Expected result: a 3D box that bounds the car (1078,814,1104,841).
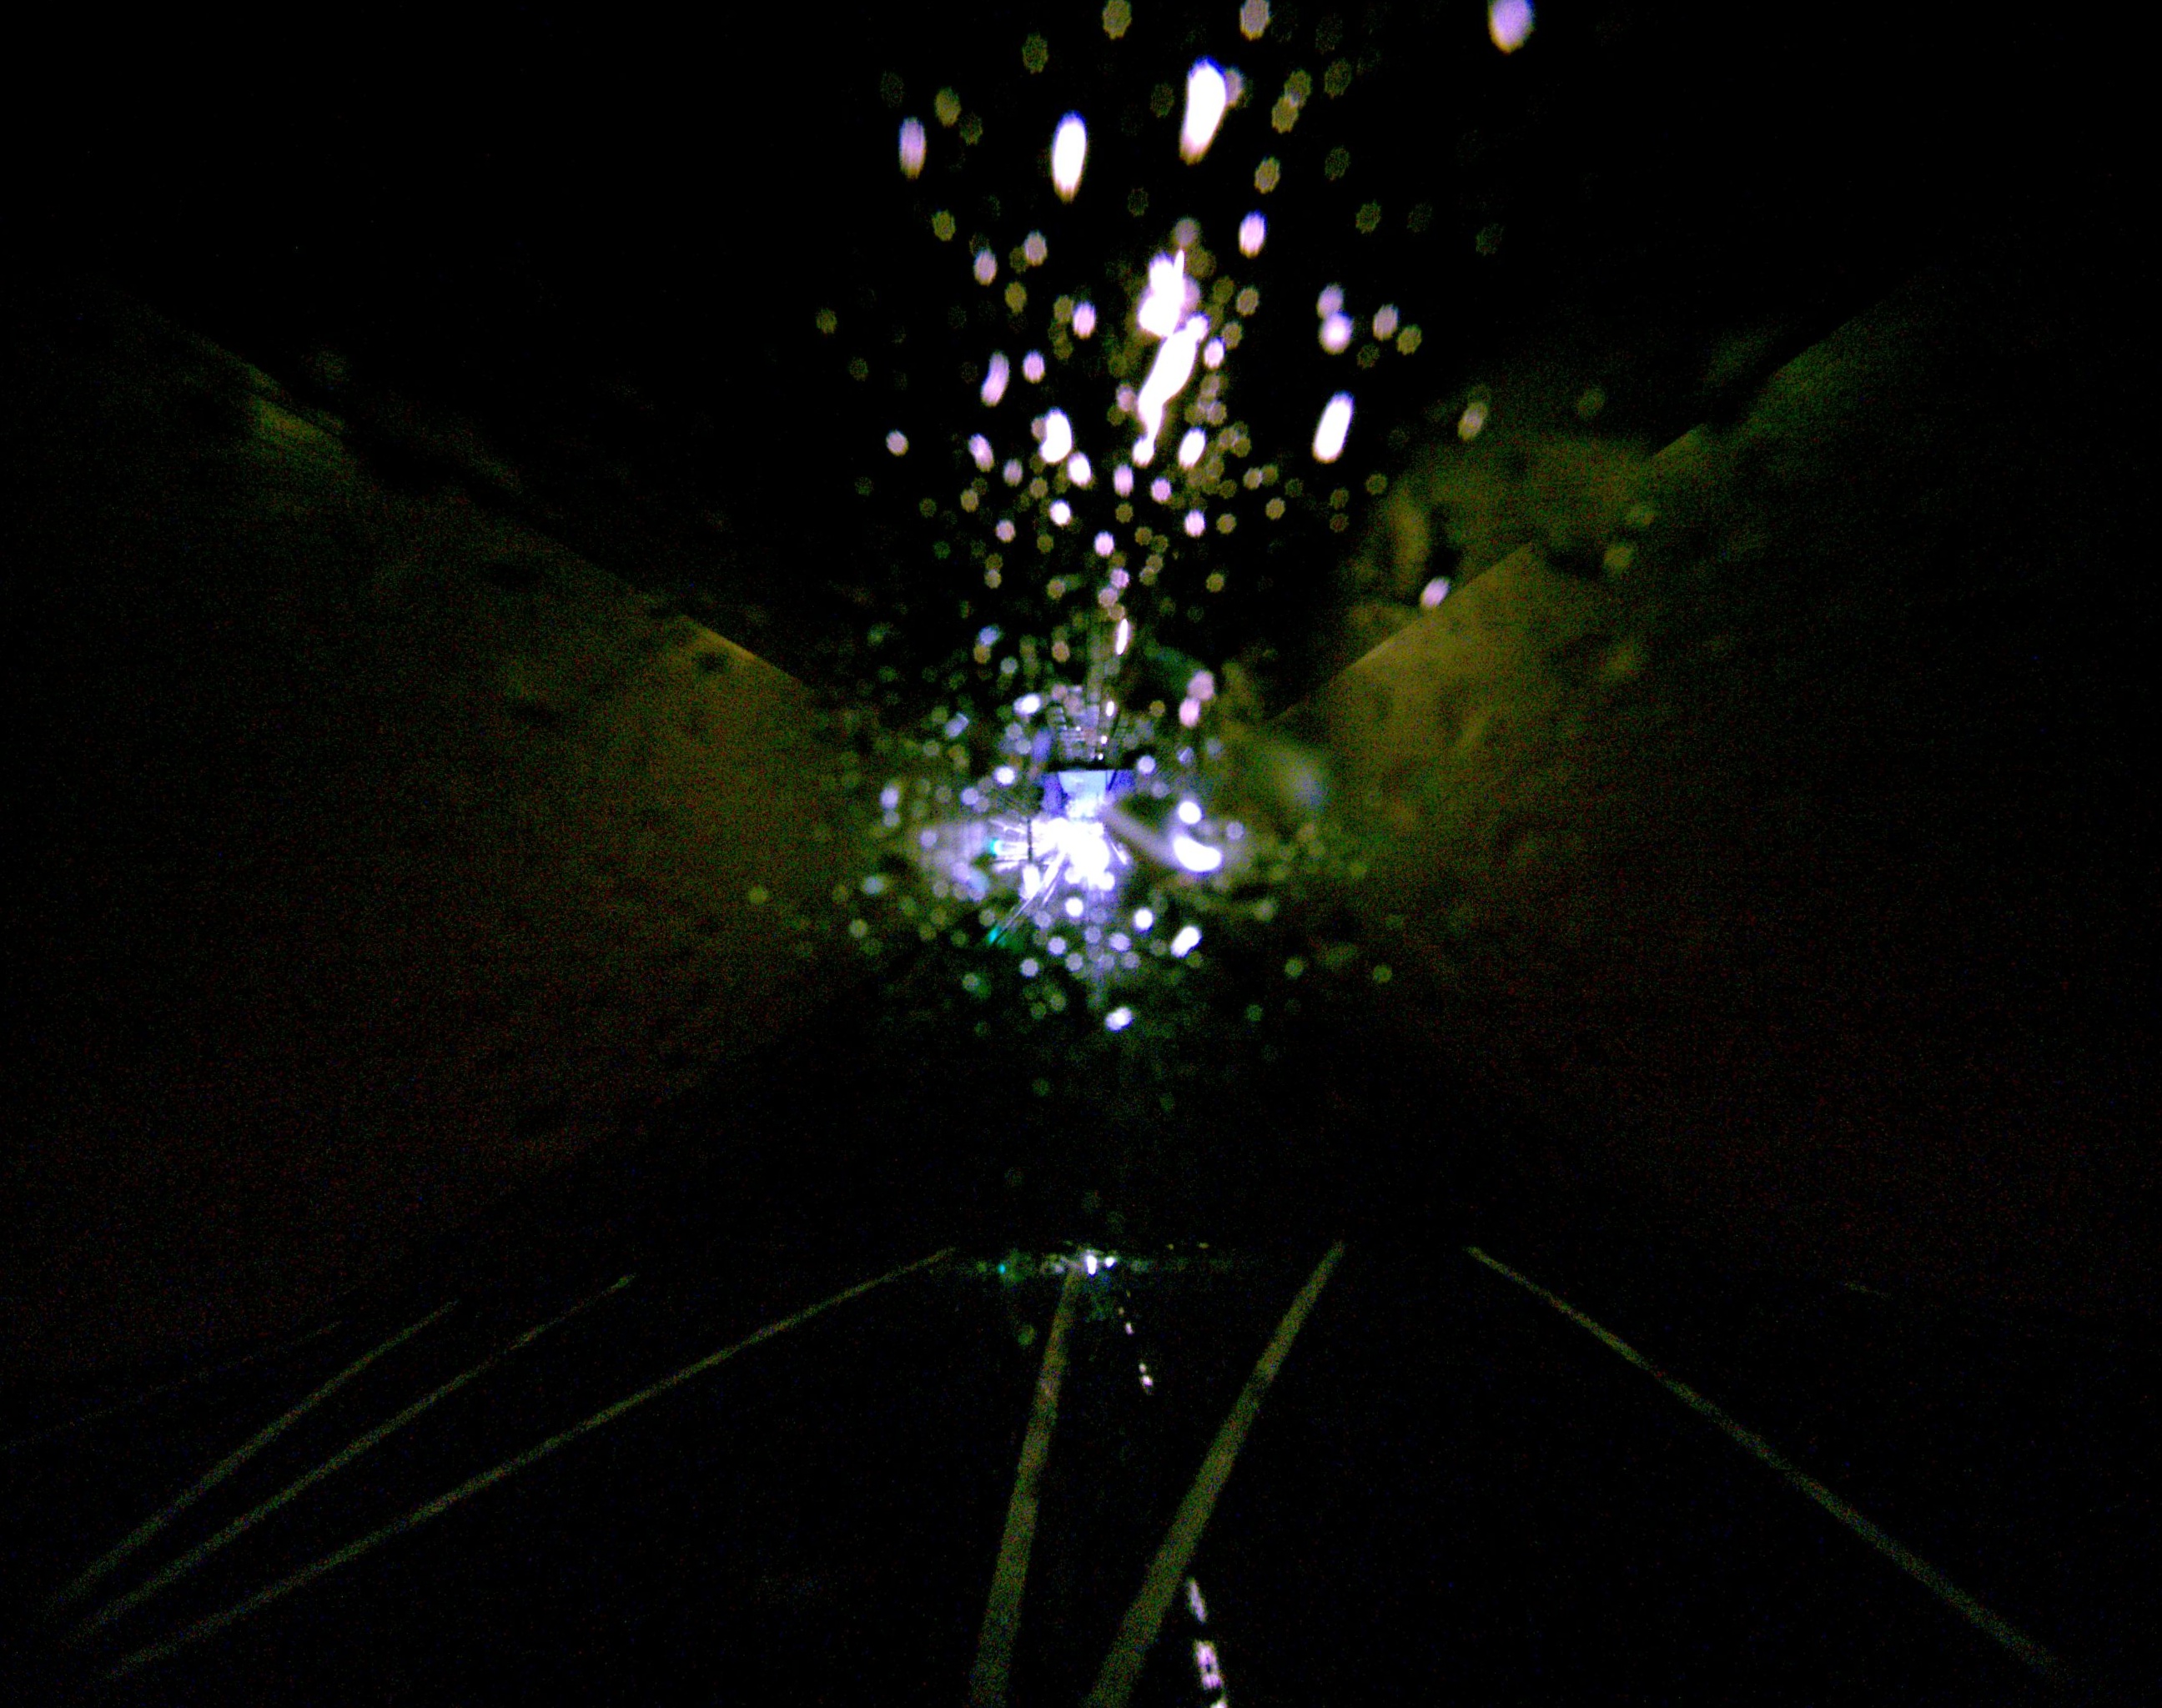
[{"bbox_3d":[0.851,-2.196,64.346,2.030,2.017,4.425,-2,0,1],"label":"car"}]
